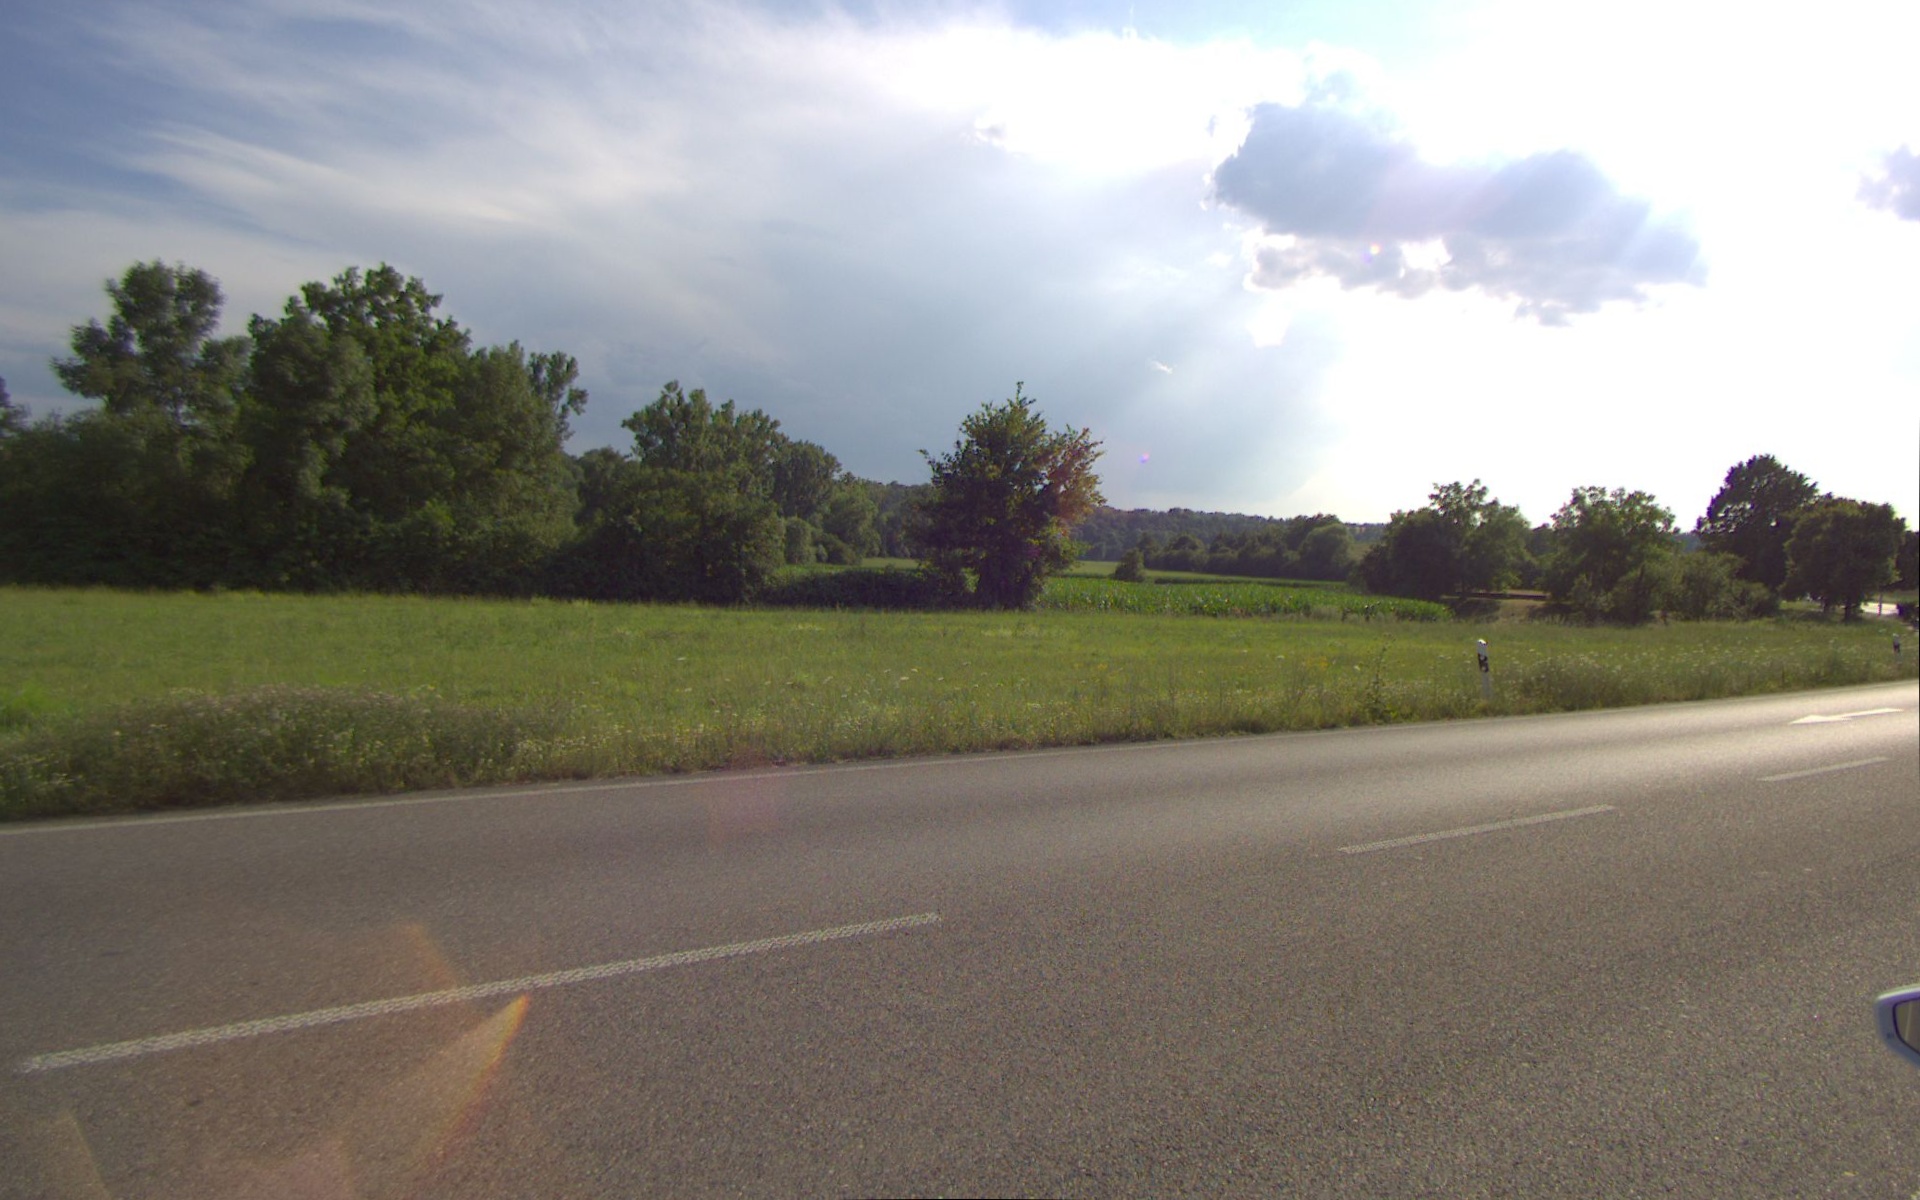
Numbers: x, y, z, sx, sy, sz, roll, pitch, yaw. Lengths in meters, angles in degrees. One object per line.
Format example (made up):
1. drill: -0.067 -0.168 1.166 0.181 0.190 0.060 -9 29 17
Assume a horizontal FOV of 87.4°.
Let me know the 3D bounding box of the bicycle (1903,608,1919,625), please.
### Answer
1. bicycle: 65.507 1.145 69.103 1.656 1.089 0.630 1 2 -39

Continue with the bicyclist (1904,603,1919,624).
1. bicyclist: 65.460 0.941 69.053 0.685 1.439 0.630 1 2 -38
